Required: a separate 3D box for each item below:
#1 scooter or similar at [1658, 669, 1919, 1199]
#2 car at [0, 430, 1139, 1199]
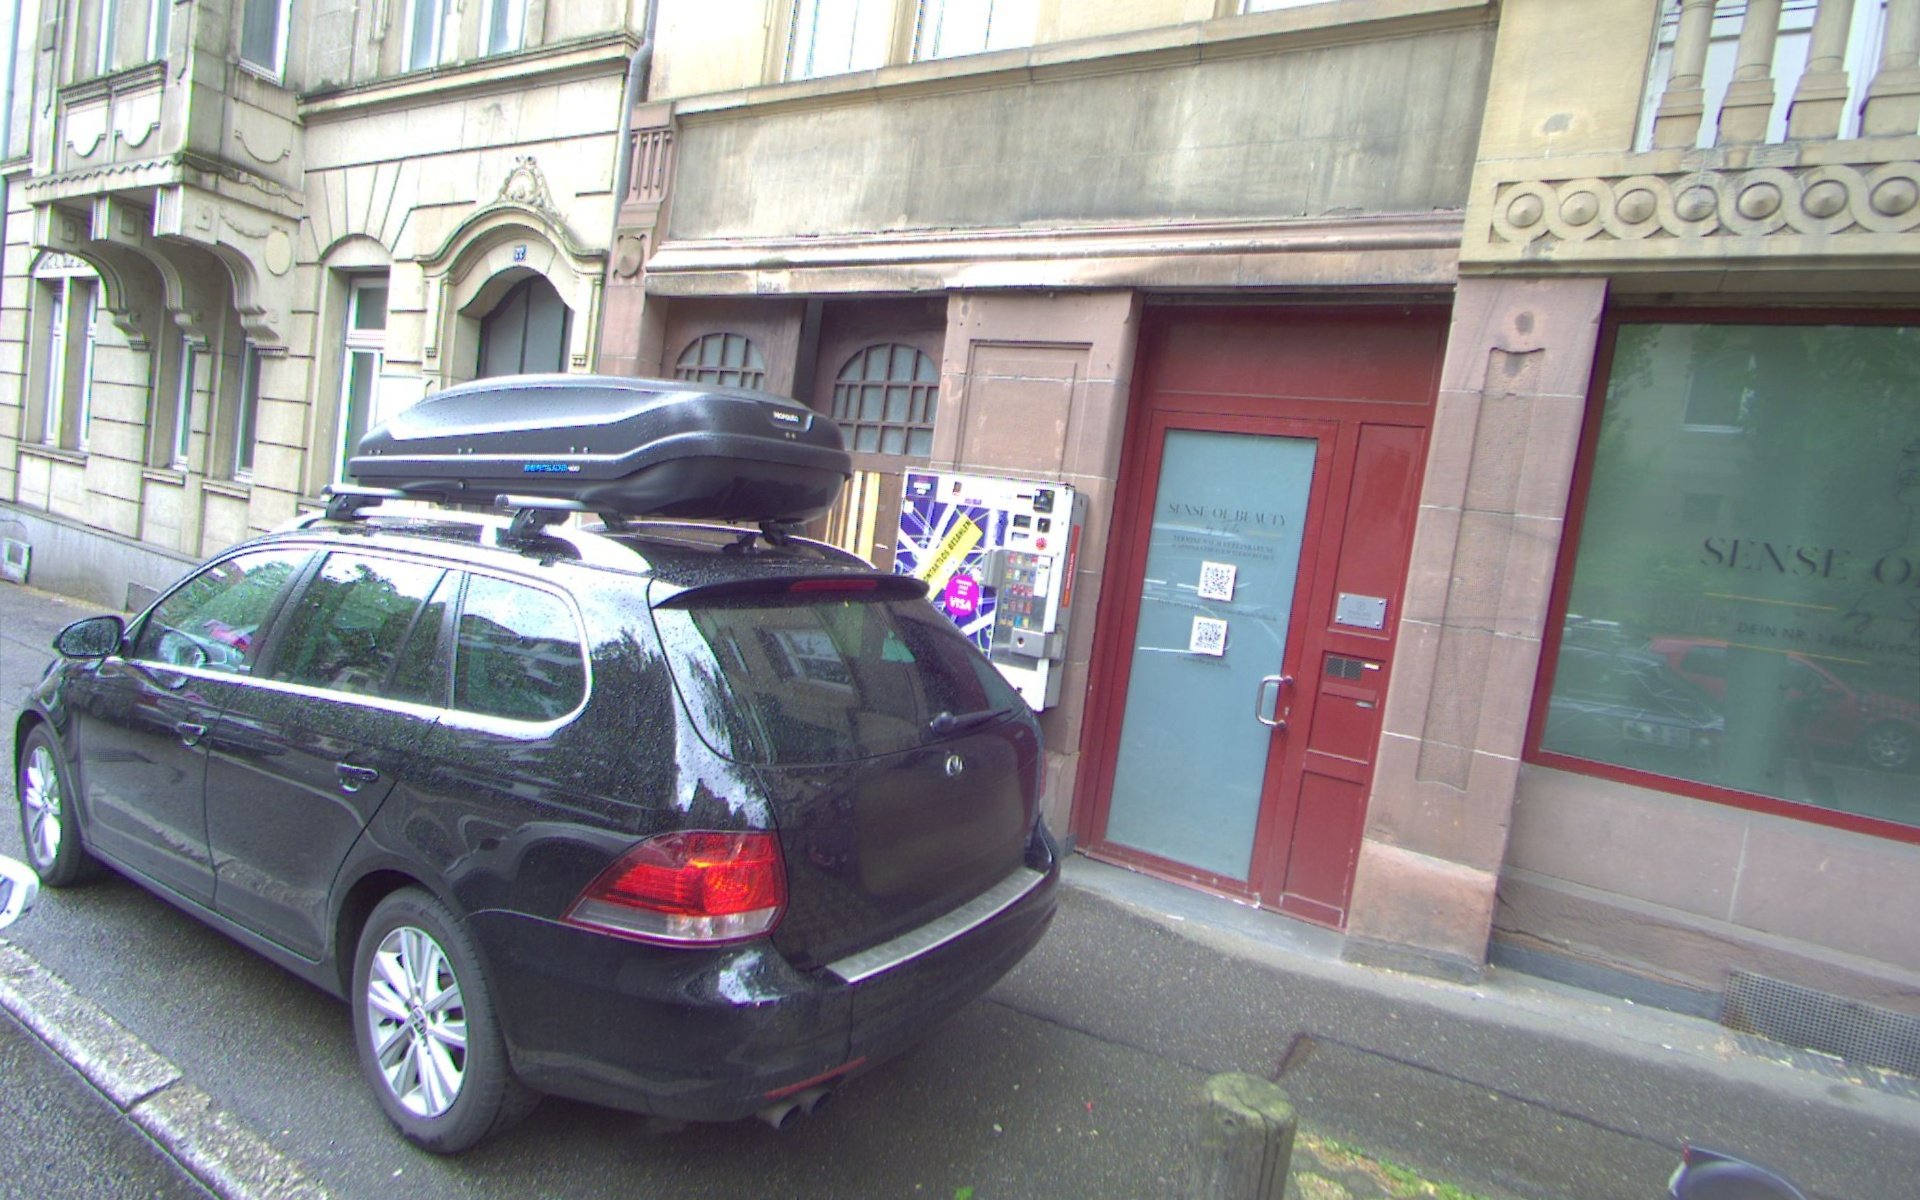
[{"bbox_3d":[2.172,0.885,1.936,1.183,1.336,0.593,7,3,32],"label":"scooter or similar"},{"bbox_3d":[-1.659,0.378,3.533,4.031,1.675,1.757,7,6,32],"label":"car"}]
